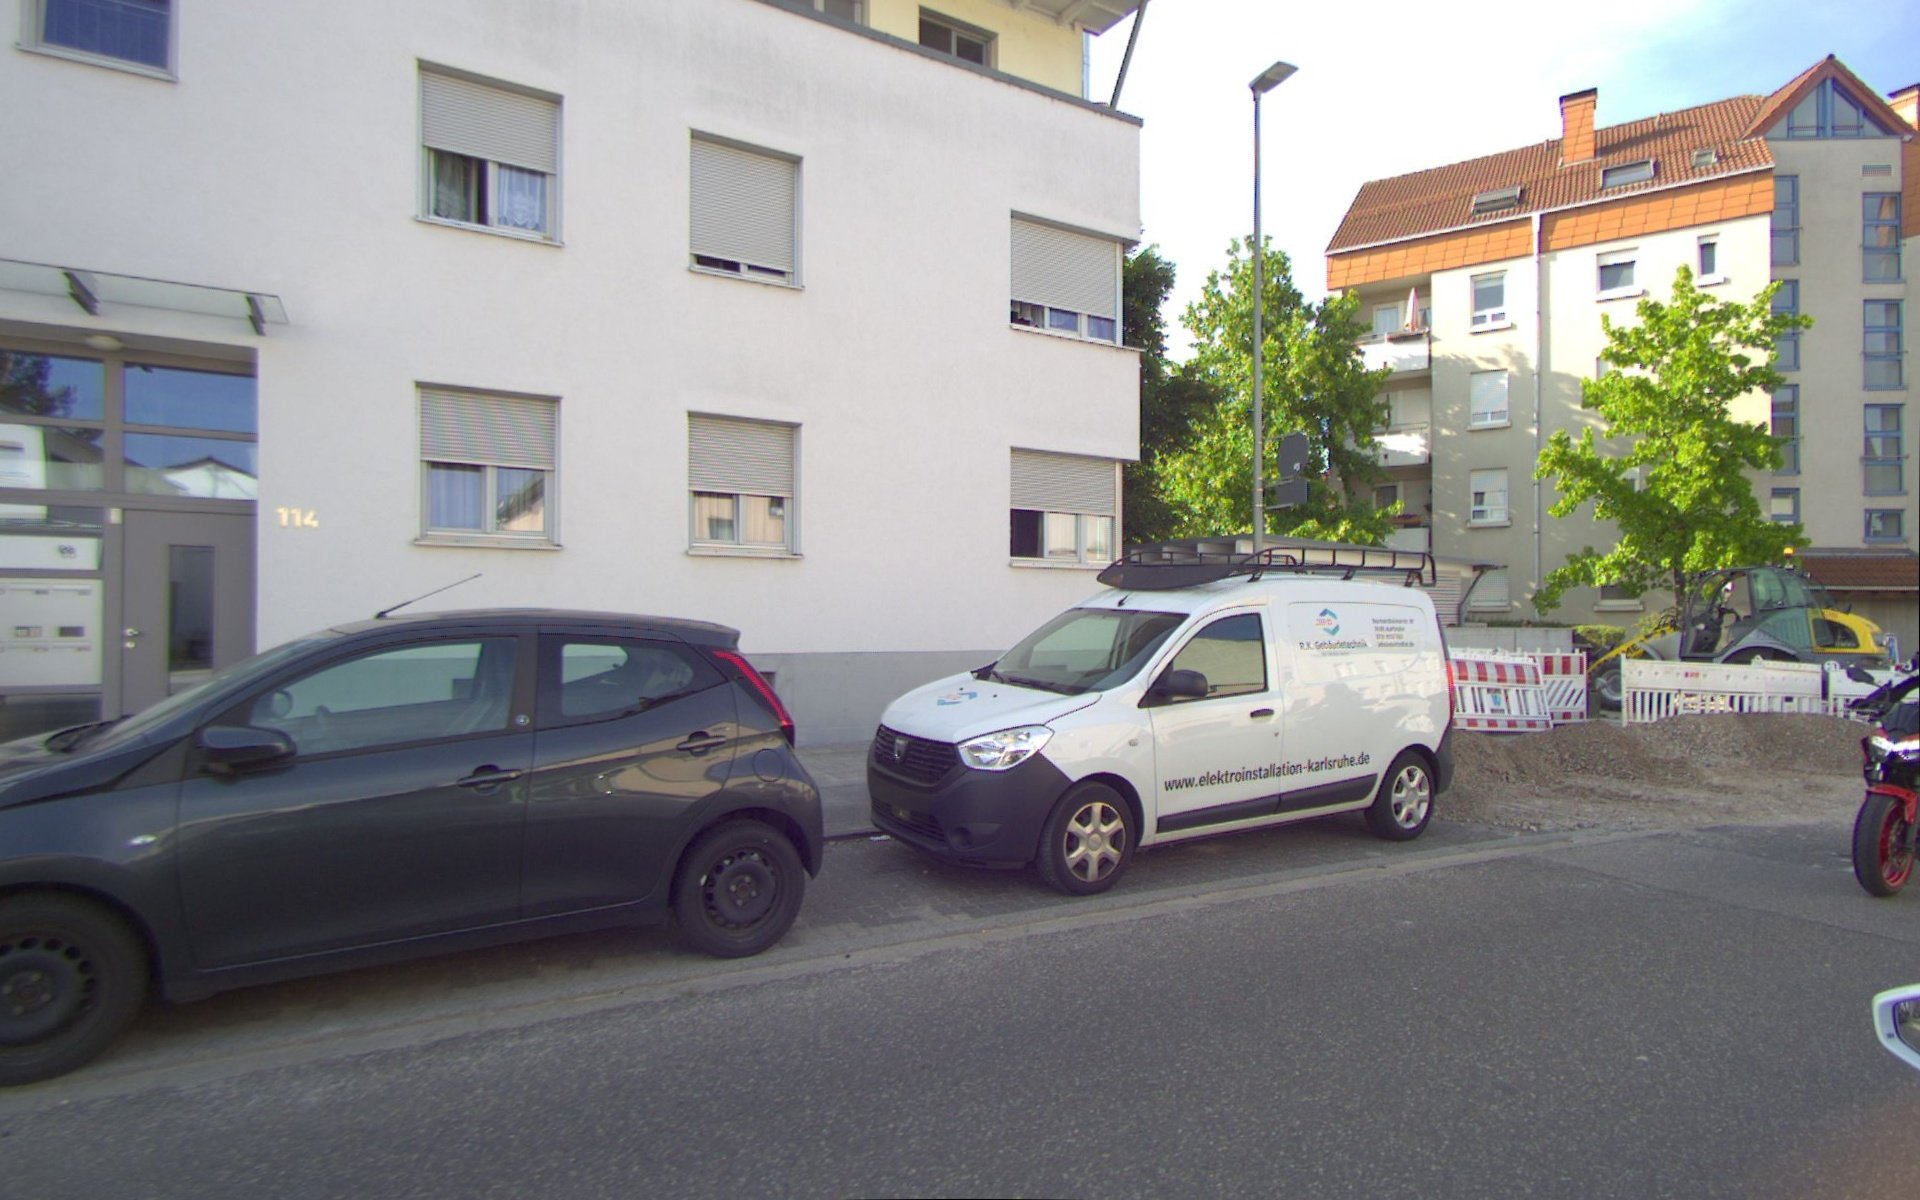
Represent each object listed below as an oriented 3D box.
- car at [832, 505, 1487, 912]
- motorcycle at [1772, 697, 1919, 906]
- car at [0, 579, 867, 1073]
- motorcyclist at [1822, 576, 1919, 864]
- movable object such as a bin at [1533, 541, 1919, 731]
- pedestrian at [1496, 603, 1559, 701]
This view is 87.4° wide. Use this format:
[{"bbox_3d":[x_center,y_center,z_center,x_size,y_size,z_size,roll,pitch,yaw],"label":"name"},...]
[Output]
[{"bbox_3d":[1.497,0.561,6.814,4.389,1.987,1.718,1,0,-32],"label":"car"},{"bbox_3d":[5.898,1.147,6.114,2.173,0.998,0.765,1,-1,-30],"label":"motorcycle"},{"bbox_3d":[-2.284,0.693,4.257,3.474,1.484,1.485,1,0,-32],"label":"car"},{"bbox_3d":[5.912,0.707,6.128,0.833,1.674,0.765,1,-1,-30],"label":"motorcyclist"},{"bbox_3d":[13.785,0.558,18.299,2.095,2.939,5.448,0,0,-41],"label":"movable object such as a bin"},{"bbox_3d":[12.135,1.101,21.495,0.878,2.045,0.765,1,-1,-15],"label":"pedestrian"}]
